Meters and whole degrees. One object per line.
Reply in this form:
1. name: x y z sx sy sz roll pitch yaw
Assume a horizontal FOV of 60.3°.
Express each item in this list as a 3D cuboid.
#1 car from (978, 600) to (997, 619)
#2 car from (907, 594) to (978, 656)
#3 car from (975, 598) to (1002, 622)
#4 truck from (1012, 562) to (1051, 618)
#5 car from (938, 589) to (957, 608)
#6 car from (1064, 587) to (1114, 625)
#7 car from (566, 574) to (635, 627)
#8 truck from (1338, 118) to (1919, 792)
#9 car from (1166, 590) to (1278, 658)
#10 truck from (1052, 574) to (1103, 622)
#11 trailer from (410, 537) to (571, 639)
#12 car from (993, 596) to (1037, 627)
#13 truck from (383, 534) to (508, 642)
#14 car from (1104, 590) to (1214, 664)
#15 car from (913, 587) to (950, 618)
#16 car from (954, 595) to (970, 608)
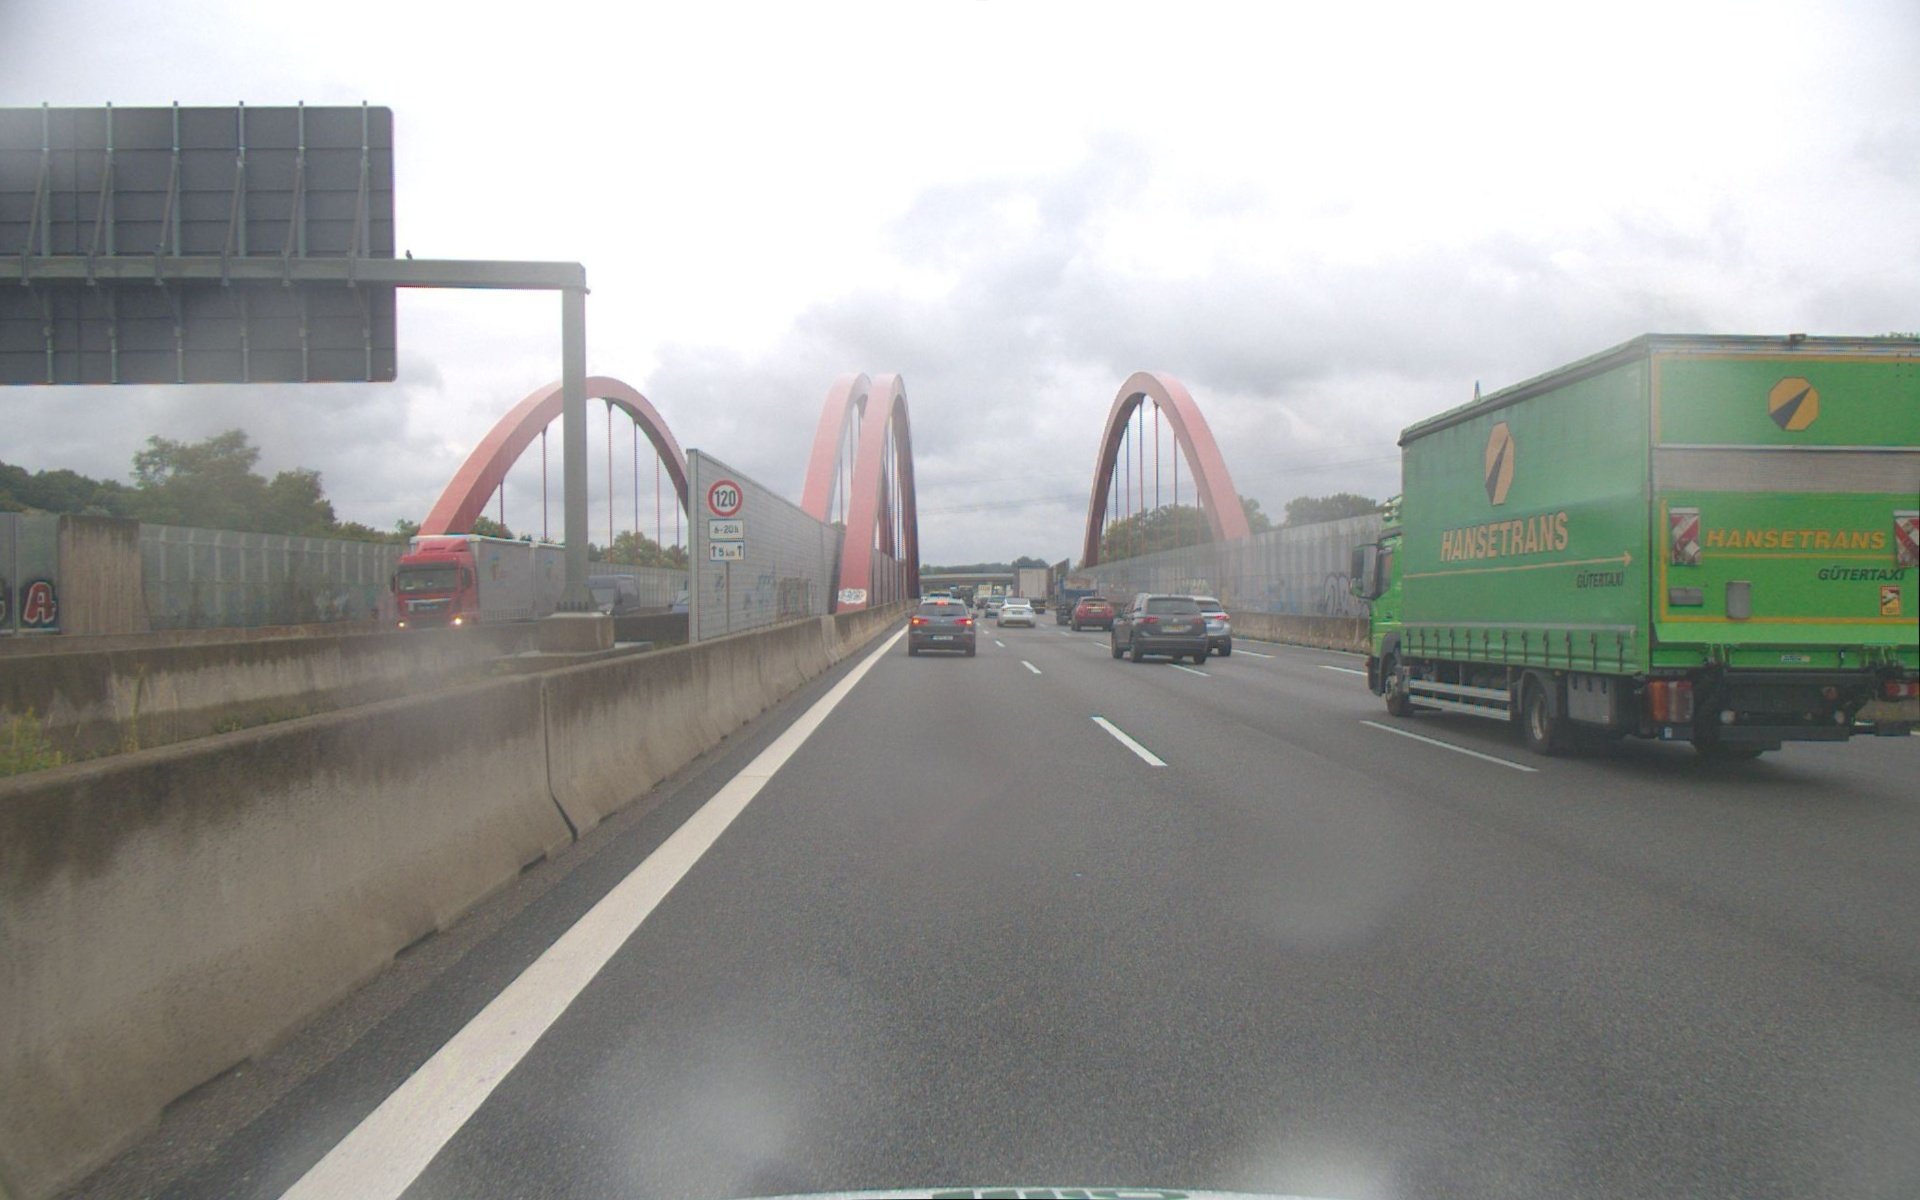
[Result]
1. car: 3.003 1.011 184.214 1.953 2.049 3.999 1 0 -1
2. car: -0.443 0.606 42.377 1.728 1.478 4.000 1 0 -1
3. car: 1.887 0.653 110.927 1.667 1.570 3.838 0 0 -1
4. truck: 6.344 -0.869 147.029 2.982 4.817 7.678 1 0 -1
5. car: -1.306 -0.164 169.719 1.953 1.847 3.999 1 0 -1
6. car: 6.037 0.276 77.892 1.918 1.676 3.999 1 0 -2
7. car: -15.083 0.004 69.554 1.953 2.149 4.530 0 0 -1
8. truck: 7.629 -1.141 18.843 3.916 5.358 11.217 1 0 -1
9. car: 6.774 0.595 43.350 1.953 1.647 5.326 1 0 -2
10. truck: 6.443 -0.099 91.472 2.313 2.550 6.143 1 0 -1
11. trailer: -19.259 -0.496 69.091 2.923 3.794 14.304 0 0 -1
12. car: 2.725 0.546 82.870 1.953 1.512 3.999 0 0 -2
13. truck: -19.091 -0.453 61.740 2.924 3.819 5.915 0 0 -1
14. car: 4.812 0.623 40.564 1.874 1.699 4.100 0 0 -5
15. car: -1.585 0.122 91.515 1.953 1.612 3.999 -1 0 -2
16. car: 0.319 0.204 214.360 1.952 1.652 4.001 0 0 1
